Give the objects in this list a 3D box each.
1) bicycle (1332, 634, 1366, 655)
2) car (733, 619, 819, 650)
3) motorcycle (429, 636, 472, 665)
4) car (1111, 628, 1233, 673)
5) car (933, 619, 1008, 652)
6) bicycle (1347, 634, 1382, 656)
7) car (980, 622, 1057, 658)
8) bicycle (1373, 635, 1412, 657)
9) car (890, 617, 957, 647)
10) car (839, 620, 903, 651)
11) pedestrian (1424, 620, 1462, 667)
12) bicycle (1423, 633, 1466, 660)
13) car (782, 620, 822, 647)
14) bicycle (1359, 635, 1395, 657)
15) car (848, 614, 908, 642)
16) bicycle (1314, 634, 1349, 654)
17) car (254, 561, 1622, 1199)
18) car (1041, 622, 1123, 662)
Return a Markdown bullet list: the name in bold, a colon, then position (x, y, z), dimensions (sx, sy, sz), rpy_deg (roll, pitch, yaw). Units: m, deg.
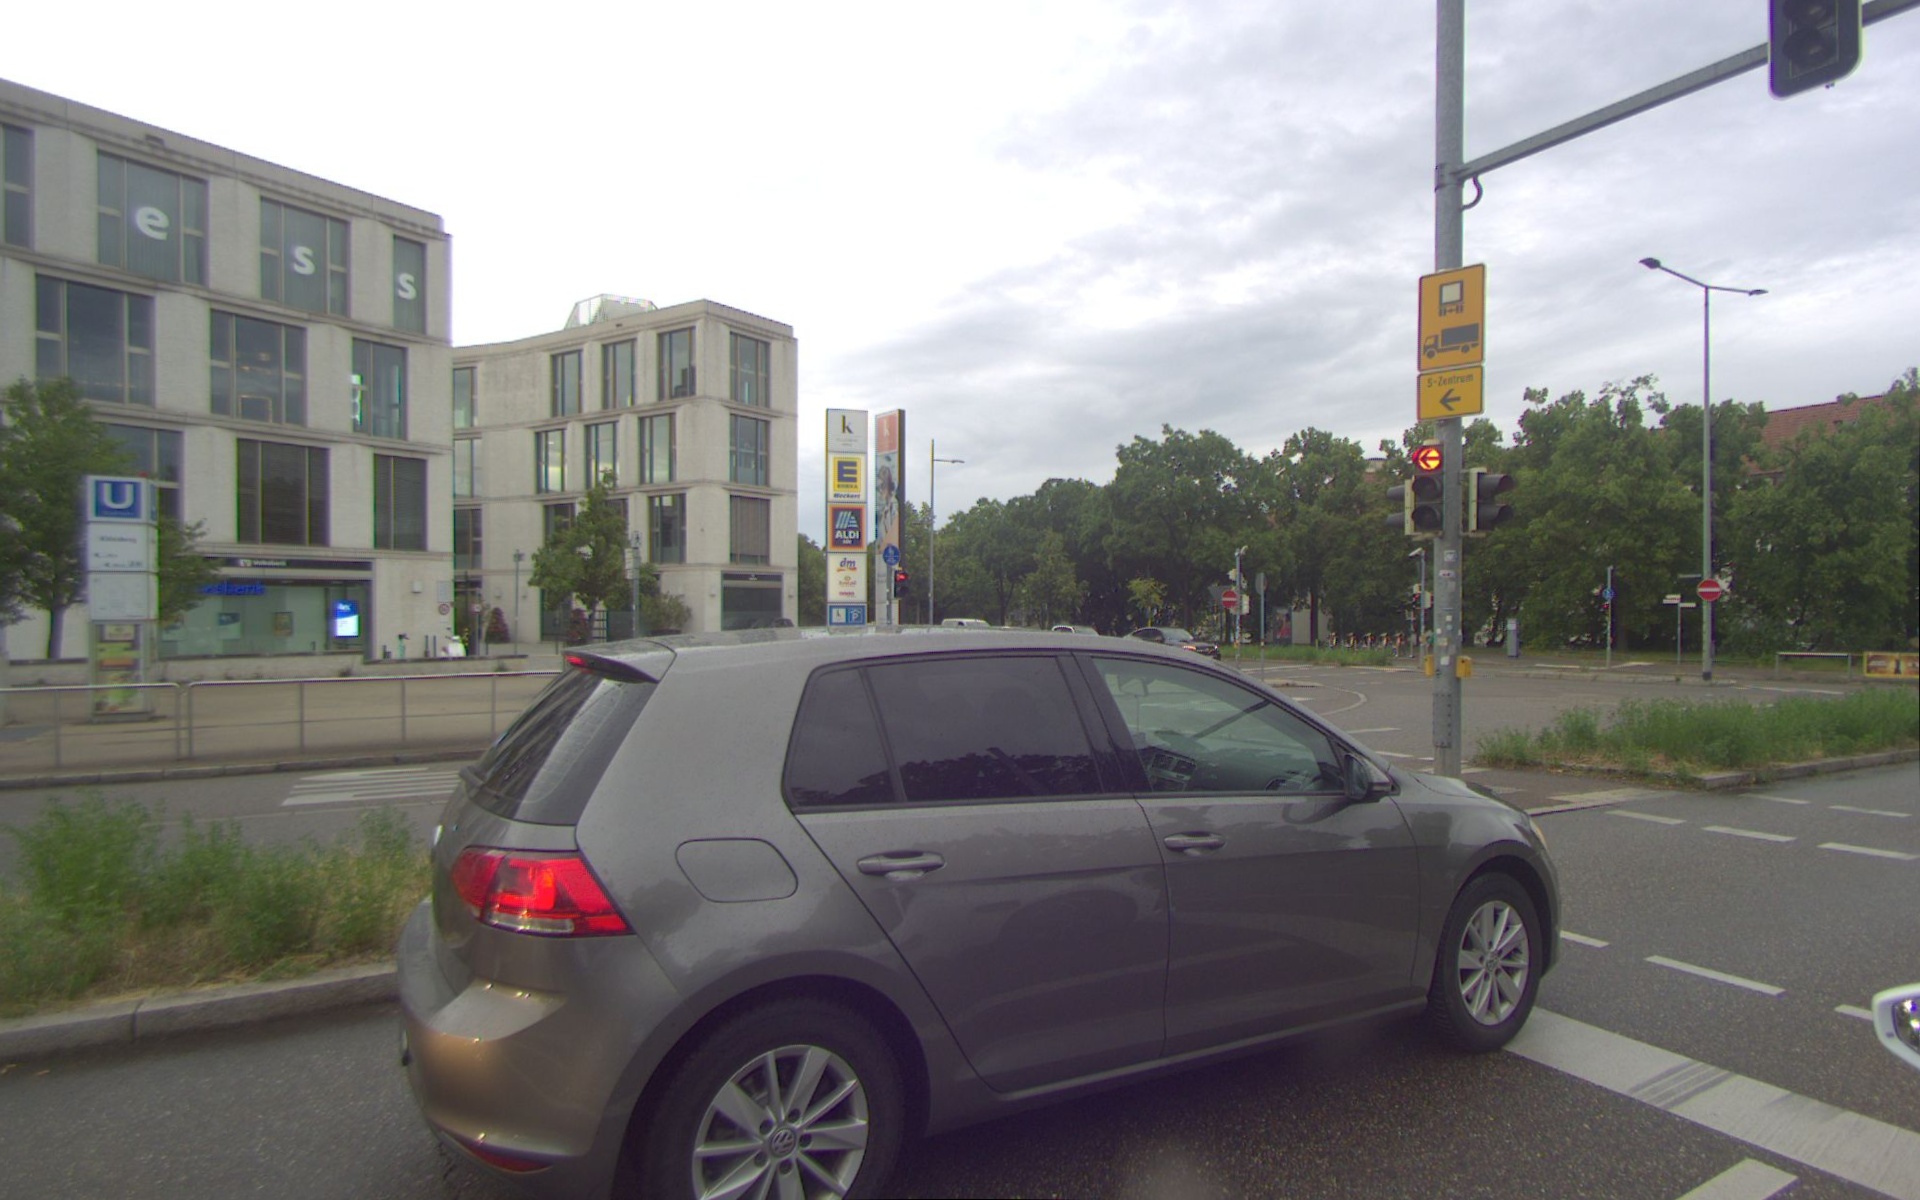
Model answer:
- **bicycle**: position (20.936, 2.386, 54.036), dimensions (1.959, 1.085, 0.649), rpy_deg (2, 0, -30)
- **car**: position (-9.188, 1.714, 50.318), dimensions (1.968, 1.483, 3.985), rpy_deg (0, -2, 37)
- **motorcycle**: position (-14.163, 1.403, 27.928), dimensions (1.081, 0.750, 0.522), rpy_deg (2, 0, 29)
- **car**: position (8.393, 1.963, 40.241), dimensions (1.976, 1.520, 5.001), rpy_deg (2, 0, -29)
- **car**: position (0.530, 1.942, 55.406), dimensions (1.976, 1.615, 4.855), rpy_deg (2, 0, -29)
- **bicycle**: position (21.369, 2.375, 53.035), dimensions (1.959, 1.085, 0.649), rpy_deg (2, 0, -30)
- **car**: position (2.920, 1.992, 50.947), dimensions (1.976, 1.615, 4.185), rpy_deg (2, 0, -29)
- **bicycle**: position (22.241, 2.358, 51.651), dimensions (1.959, 1.085, 0.798), rpy_deg (2, 0, -30)
- **car**: position (-2.259, 1.883, 60.393), dimensions (1.976, 1.615, 4.855), rpy_deg (2, 0, -29)
- **car**: position (-5.331, 2.109, 59.698), dimensions (1.976, 1.615, 4.855), rpy_deg (2, 0, -29)
- **pedestrian**: position (18.479, 1.674, 38.456), dimensions (0.934, 1.750, 0.919), rpy_deg (2, 0, -28)
- **bicycle**: position (23.757, 2.291, 49.263), dimensions (1.959, 1.266, 0.986), rpy_deg (2, 0, -30)
- **car**: position (-12.705, 2.662, 80.601), dimensions (1.976, 2.040, 3.969), rpy_deg (1, -1, -29)
- **bicycle**: position (21.670, 2.392, 52.175), dimensions (1.959, 1.085, 0.649), rpy_deg (2, 0, -30)
- **car**: position (-5.461, 1.814, 66.113), dimensions (1.977, 1.615, 4.852), rpy_deg (2, 0, -31)
- **bicycle**: position (20.265, 2.400, 54.765), dimensions (1.959, 1.085, 0.649), rpy_deg (2, 0, -30)
- **car**: position (0.248, 0.748, 3.563), dimensions (4.325, 1.501, 1.807), rpy_deg (2, -1, -30)
- **car**: position (5.555, 1.906, 46.027), dimensions (1.976, 1.615, 3.536), rpy_deg (2, 0, -30)
